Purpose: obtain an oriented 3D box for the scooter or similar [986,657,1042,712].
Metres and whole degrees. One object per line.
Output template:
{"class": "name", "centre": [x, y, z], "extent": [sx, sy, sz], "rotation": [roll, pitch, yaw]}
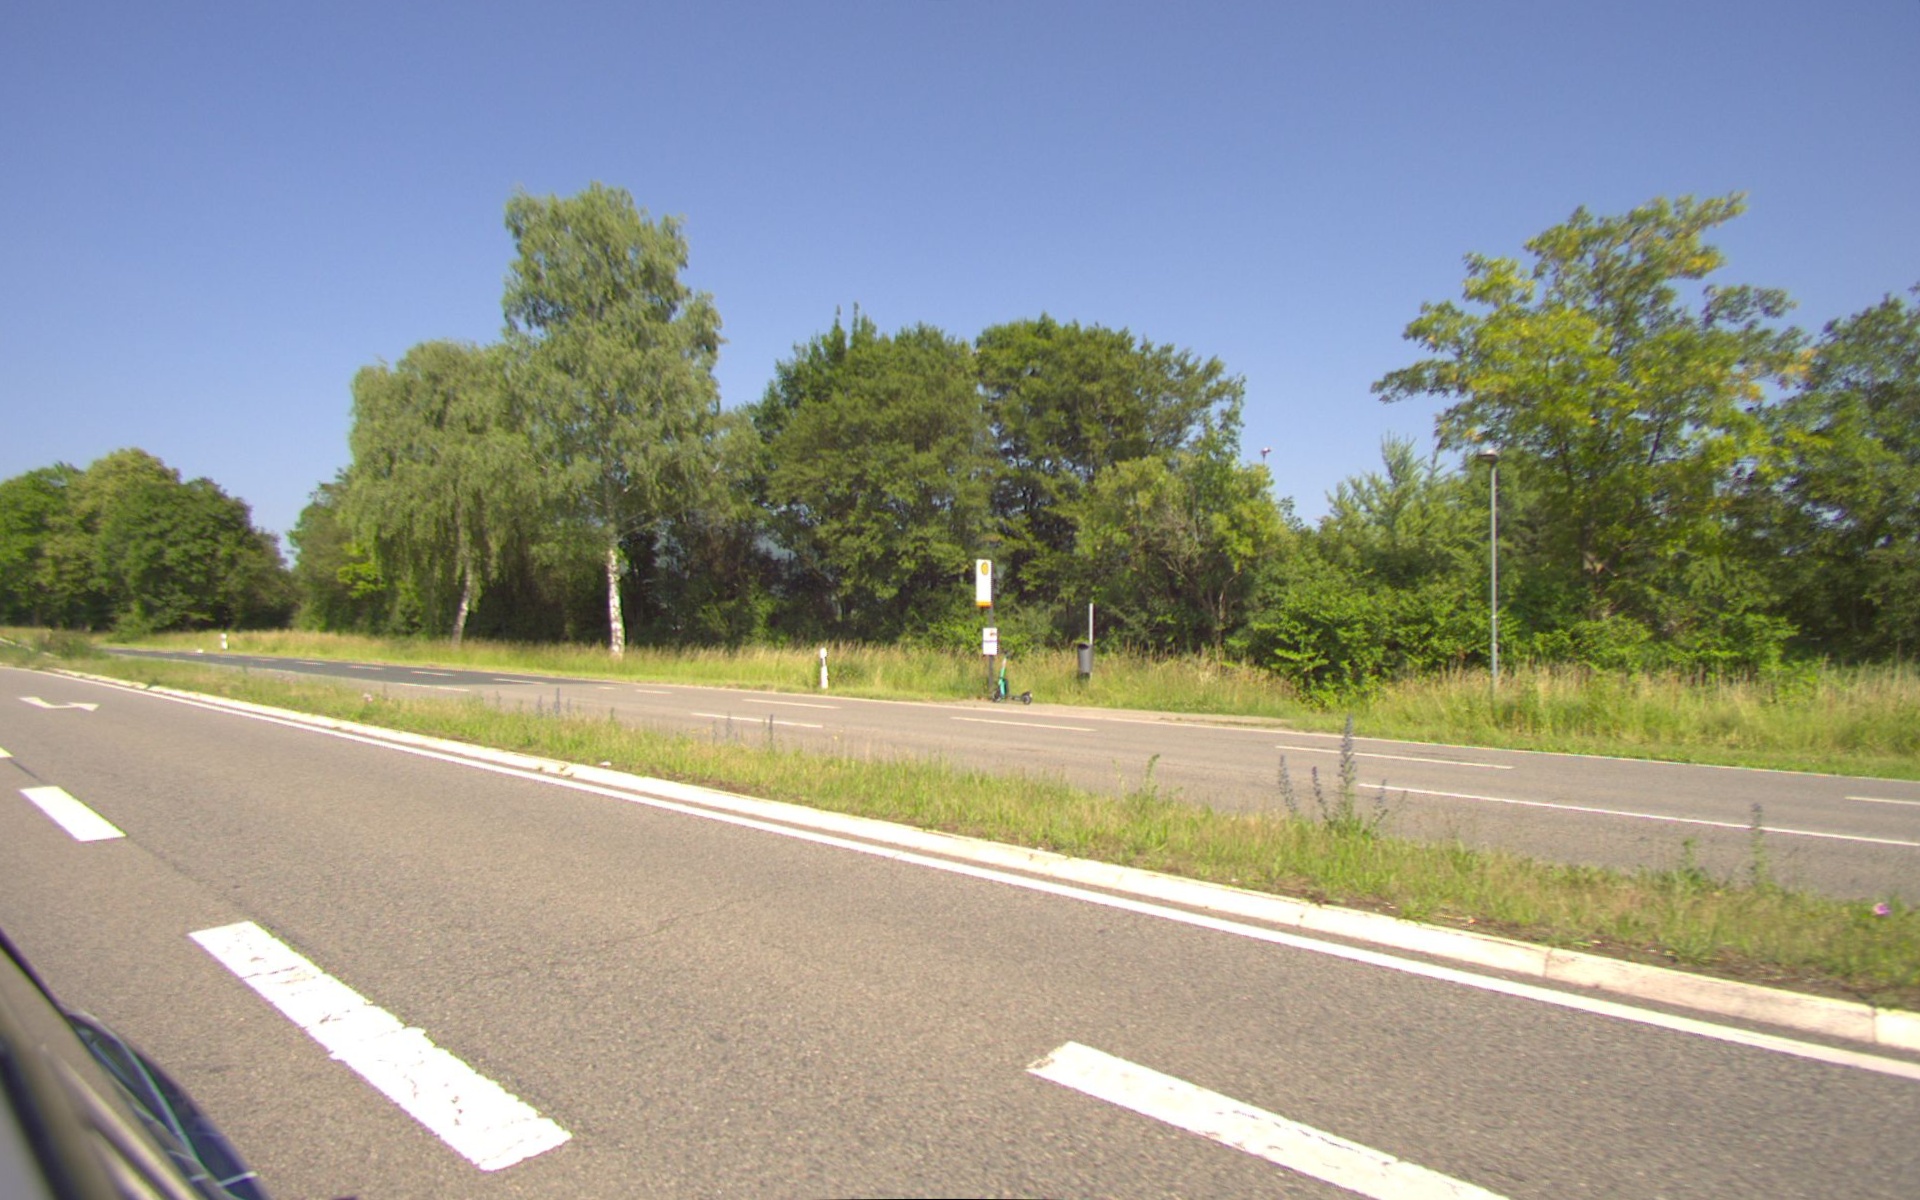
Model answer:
{"class": "scooter or similar", "centre": [1.234, 1.935, 23.314], "extent": [1.340, 1.195, 0.364], "rotation": [-1, -4, 41]}
